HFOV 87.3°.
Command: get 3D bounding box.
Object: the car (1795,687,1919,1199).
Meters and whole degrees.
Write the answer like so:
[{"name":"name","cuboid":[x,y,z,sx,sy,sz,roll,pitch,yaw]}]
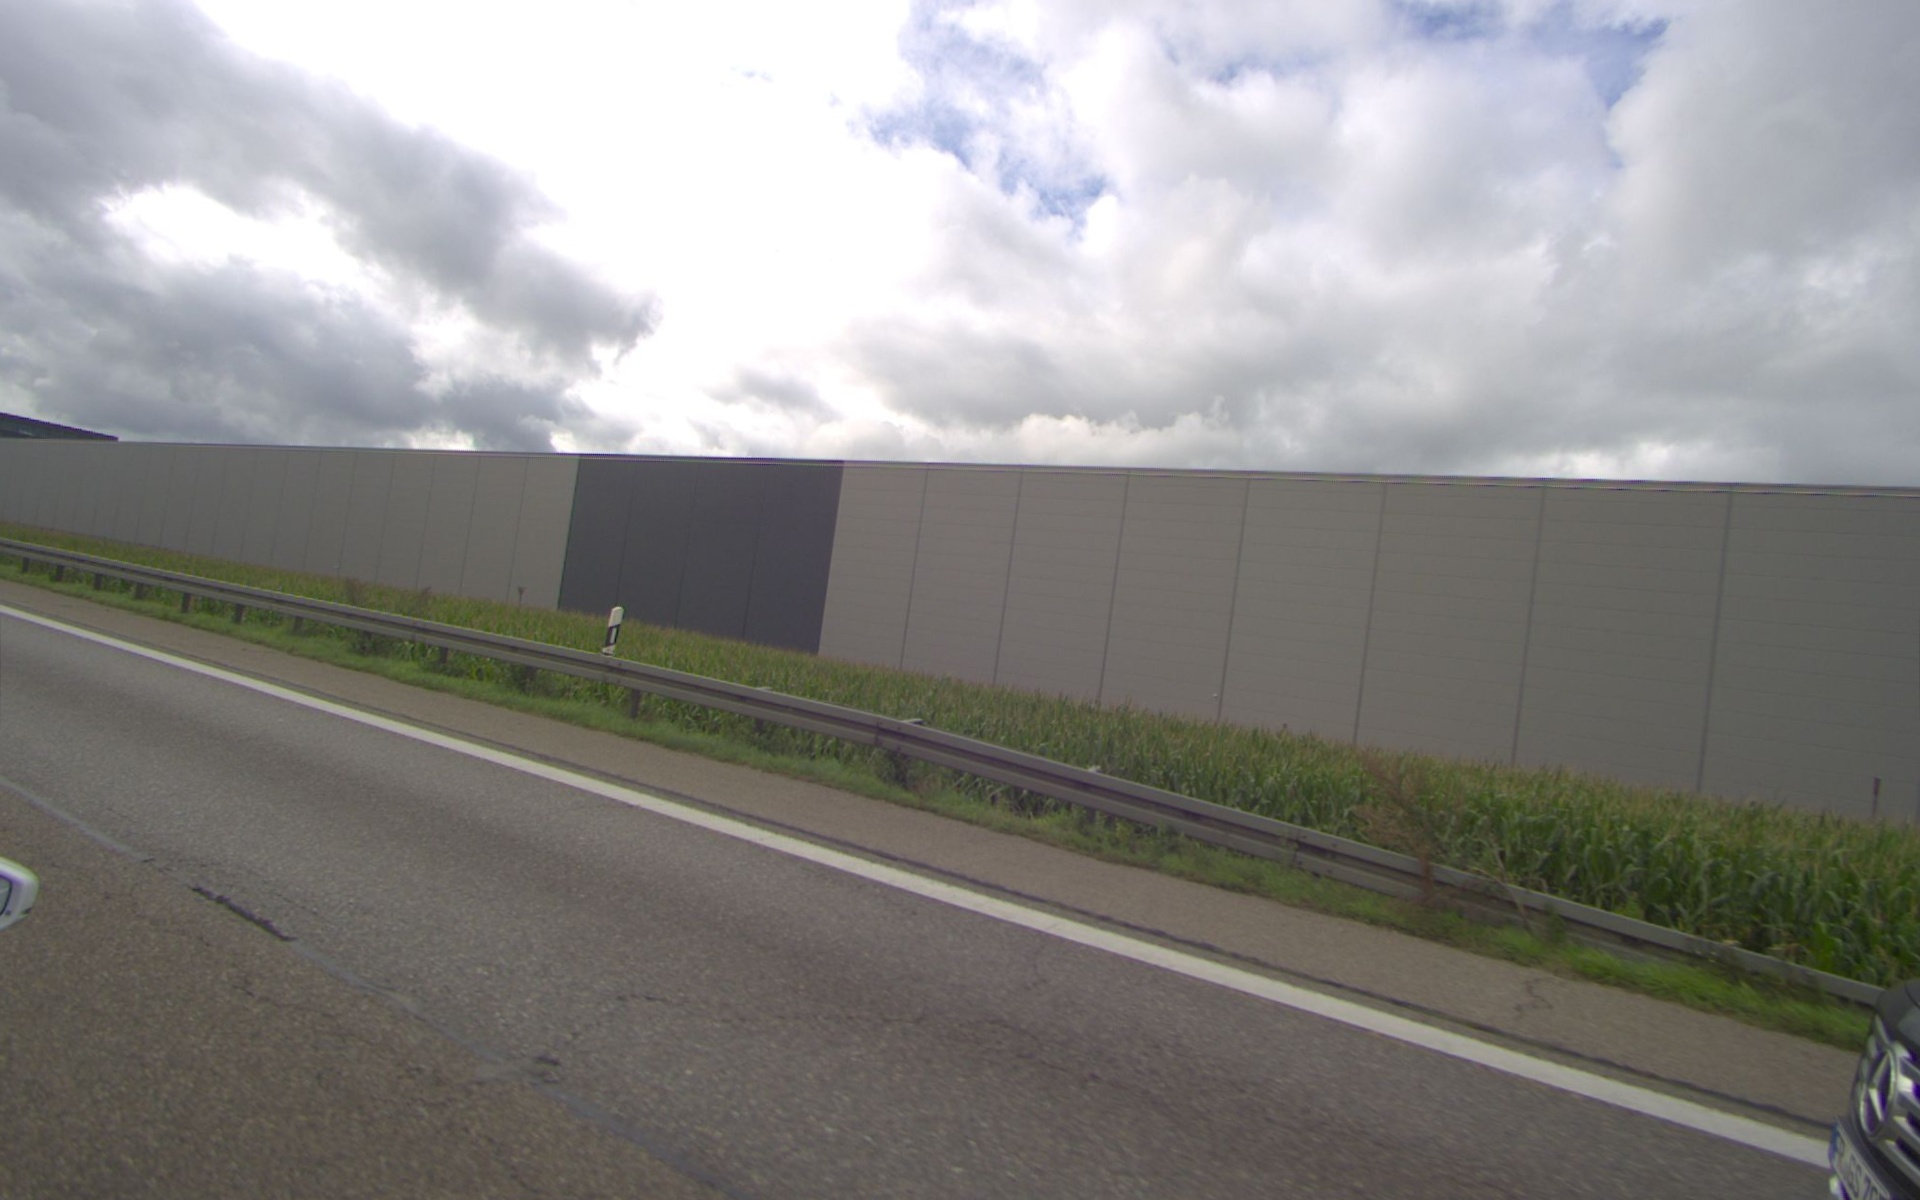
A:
[{"name":"car","cuboid":[4.006,1.198,1.189,4.288,1.628,1.837,6,-2,32]}]
